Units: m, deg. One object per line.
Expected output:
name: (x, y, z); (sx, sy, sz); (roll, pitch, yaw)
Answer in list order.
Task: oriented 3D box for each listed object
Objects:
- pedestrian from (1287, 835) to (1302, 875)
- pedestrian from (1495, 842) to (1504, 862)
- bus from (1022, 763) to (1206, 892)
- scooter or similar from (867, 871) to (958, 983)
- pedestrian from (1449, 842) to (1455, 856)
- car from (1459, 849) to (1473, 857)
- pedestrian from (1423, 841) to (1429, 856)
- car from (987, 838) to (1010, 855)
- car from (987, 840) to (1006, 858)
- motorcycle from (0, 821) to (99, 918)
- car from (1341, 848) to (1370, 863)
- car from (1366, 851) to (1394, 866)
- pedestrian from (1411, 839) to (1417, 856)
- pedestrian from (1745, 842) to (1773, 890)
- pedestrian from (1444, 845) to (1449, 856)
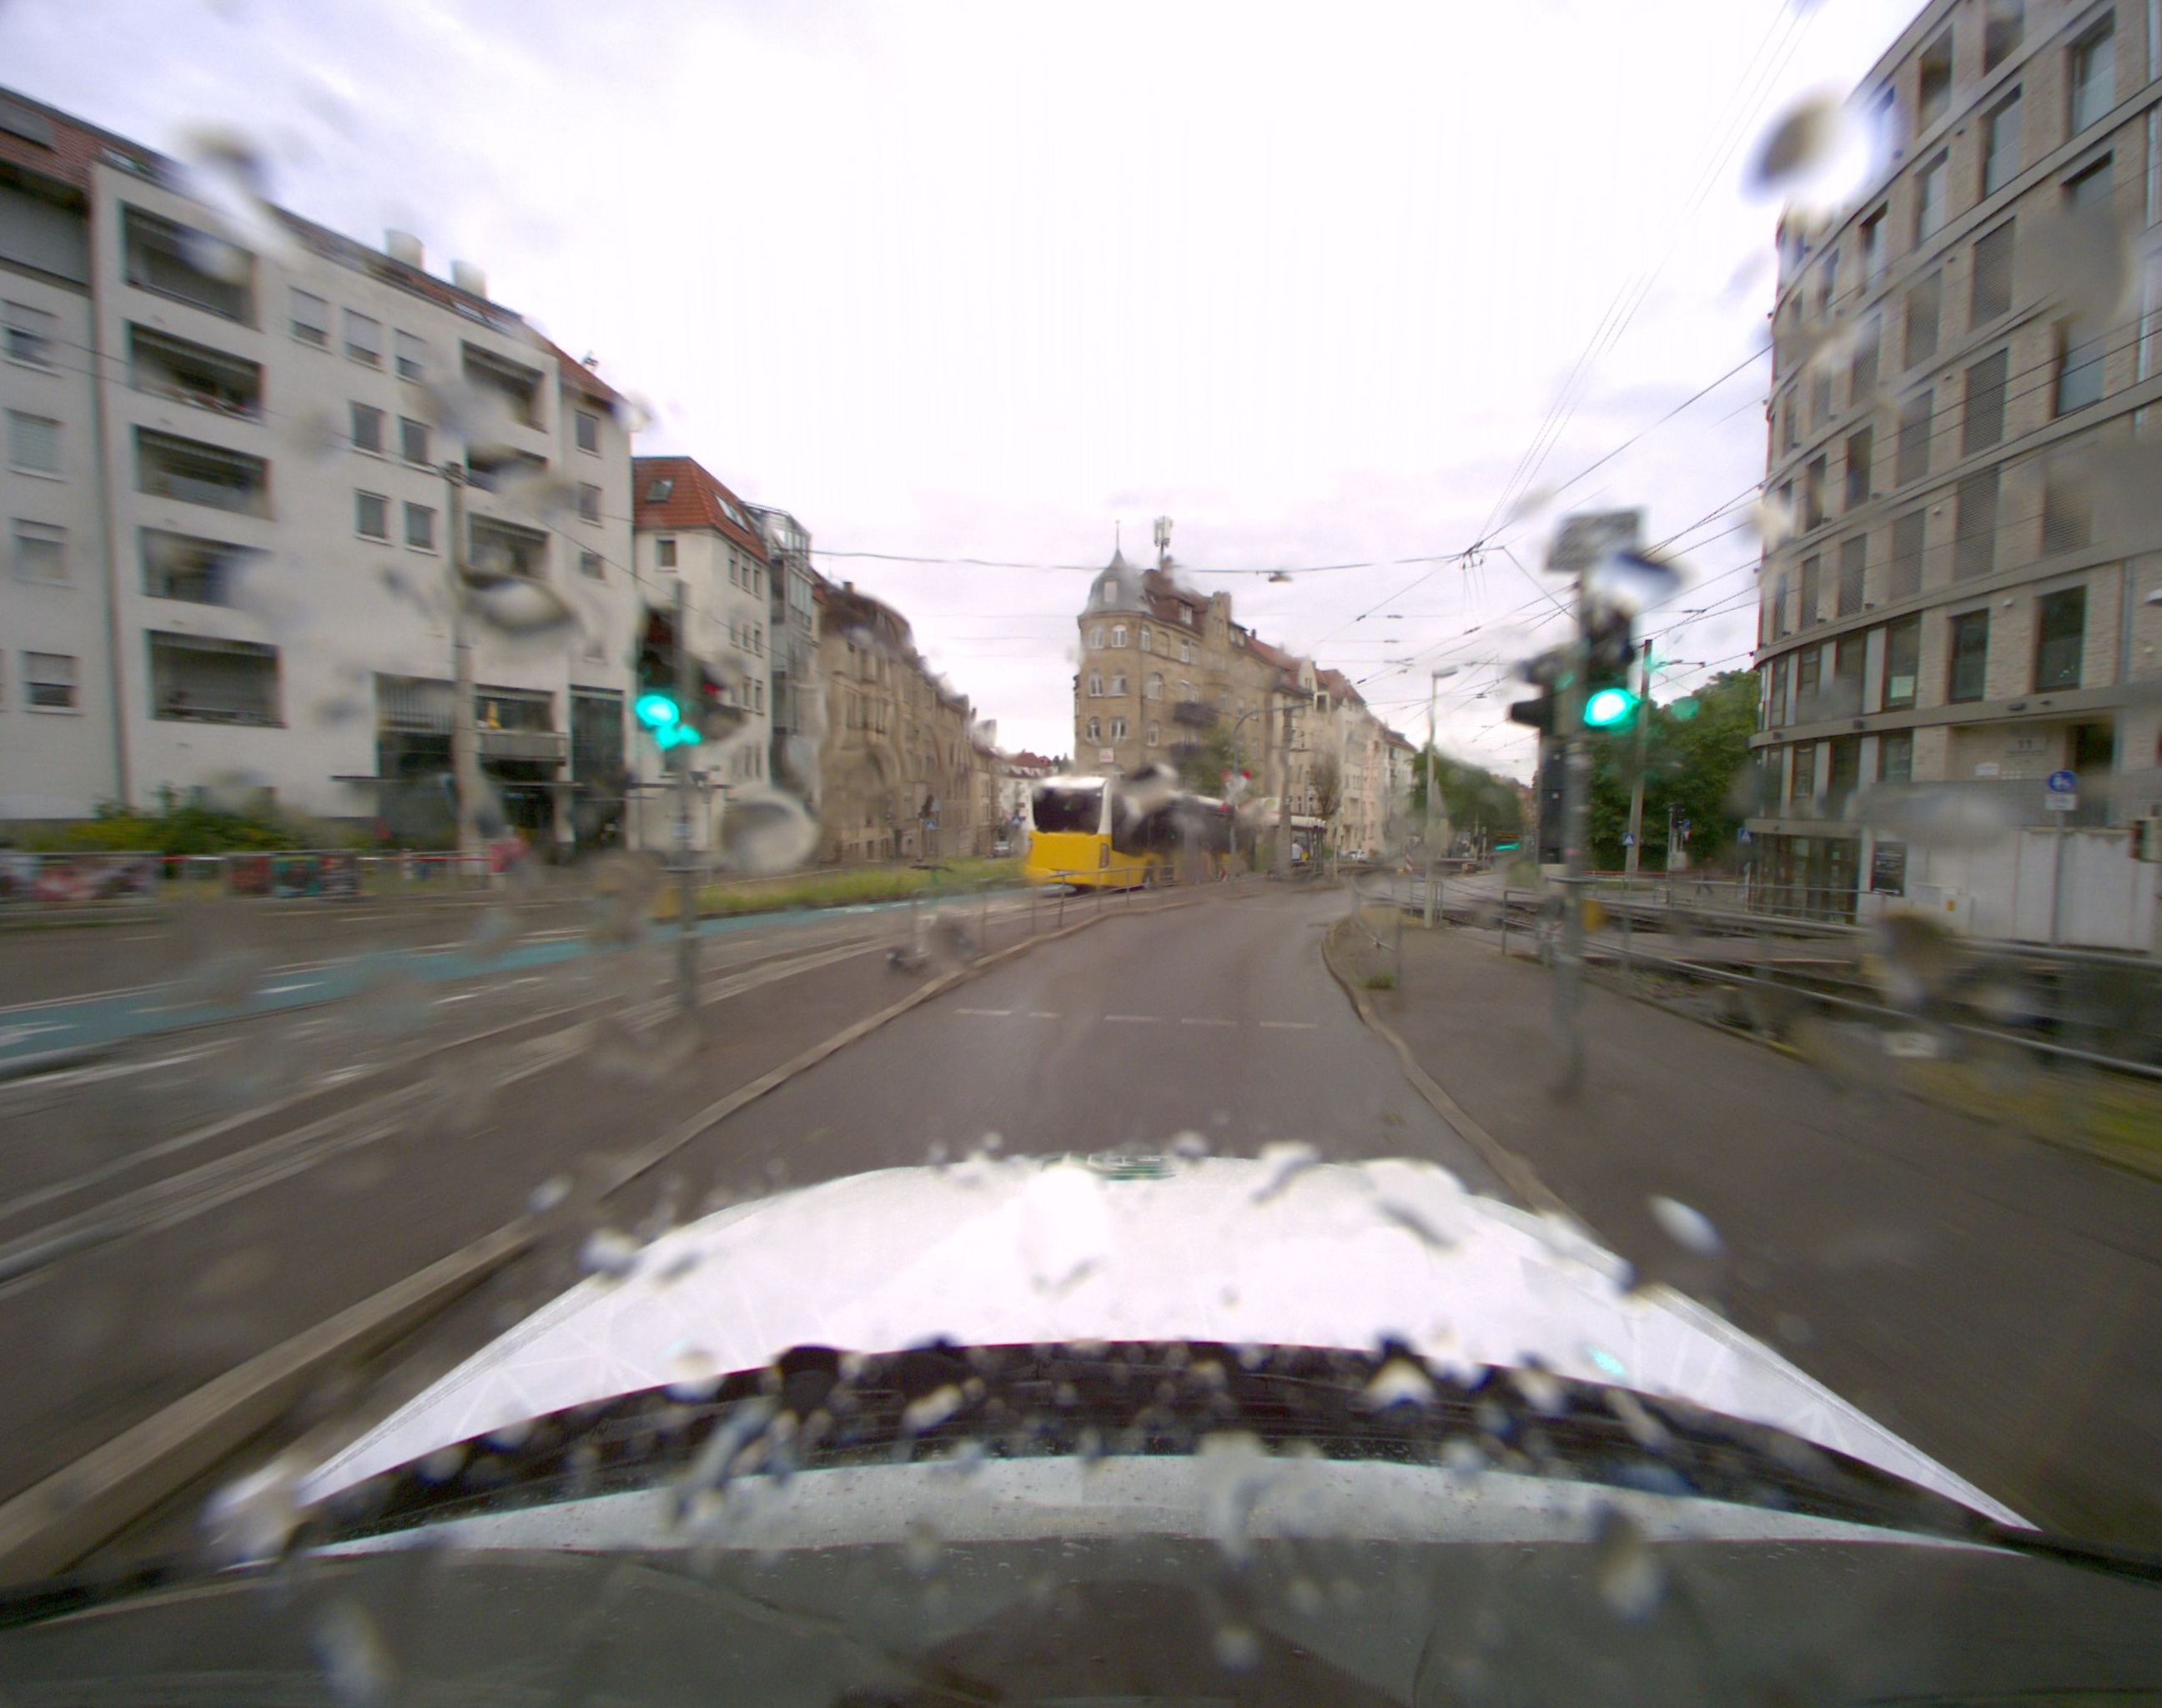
pedestrian: (9.431, 0.056, 35.950); (0.571, 1.752, 0.546); (1, 0, 22)
pedestrian: (38.805, -0.180, 75.516); (0.644, 1.784, 0.853); (1, 0, 33)
bus: (1.468, -0.713, 26.443); (2.567, 3.469, 9.160); (1, 0, 25)
scooter or similar: (-1.888, 0.777, 9.329); (0.431, 1.113, 1.609); (2, 1, 10)
pedestrian: (48.580, -0.639, 106.604); (0.544, 1.741, 0.618); (-1, -1, 33)
car: (74.533, -0.175, 157.726); (1.709, 1.515, 4.524); (1, 1, 34)
pedestrian: (40.802, -0.642, 96.360); (0.511, 1.838, 0.767); (-1, -1, 33)
car: (-10.965, -1.009, 108.745); (2.127, 2.136, 4.864); (1, 0, 5)
car: (-10.170, -0.599, 98.004); (2.135, 2.136, 4.845); (1, 0, -7)
motorcycle: (-18.094, 0.249, 13.327); (0.691, 1.550, 2.455); (4, 2, 26)
car: (30.899, 0.130, 91.520); (1.904, 1.622, 4.564); (0, 0, 34)
car: (36.358, 0.524, 98.895); (1.974, 1.732, 4.844); (0, -1, 35)
pedestrian: (36.428, -0.675, 89.101); (0.555, 1.850, 0.602); (-1, -1, 33)
pedestrian: (28.563, 0.492, 34.311); (0.650, 2.013, 0.896); (0, 0, 20)
pedestrian: (47.498, -0.432, 105.802); (0.544, 1.413, 0.618); (-1, -1, 33)
